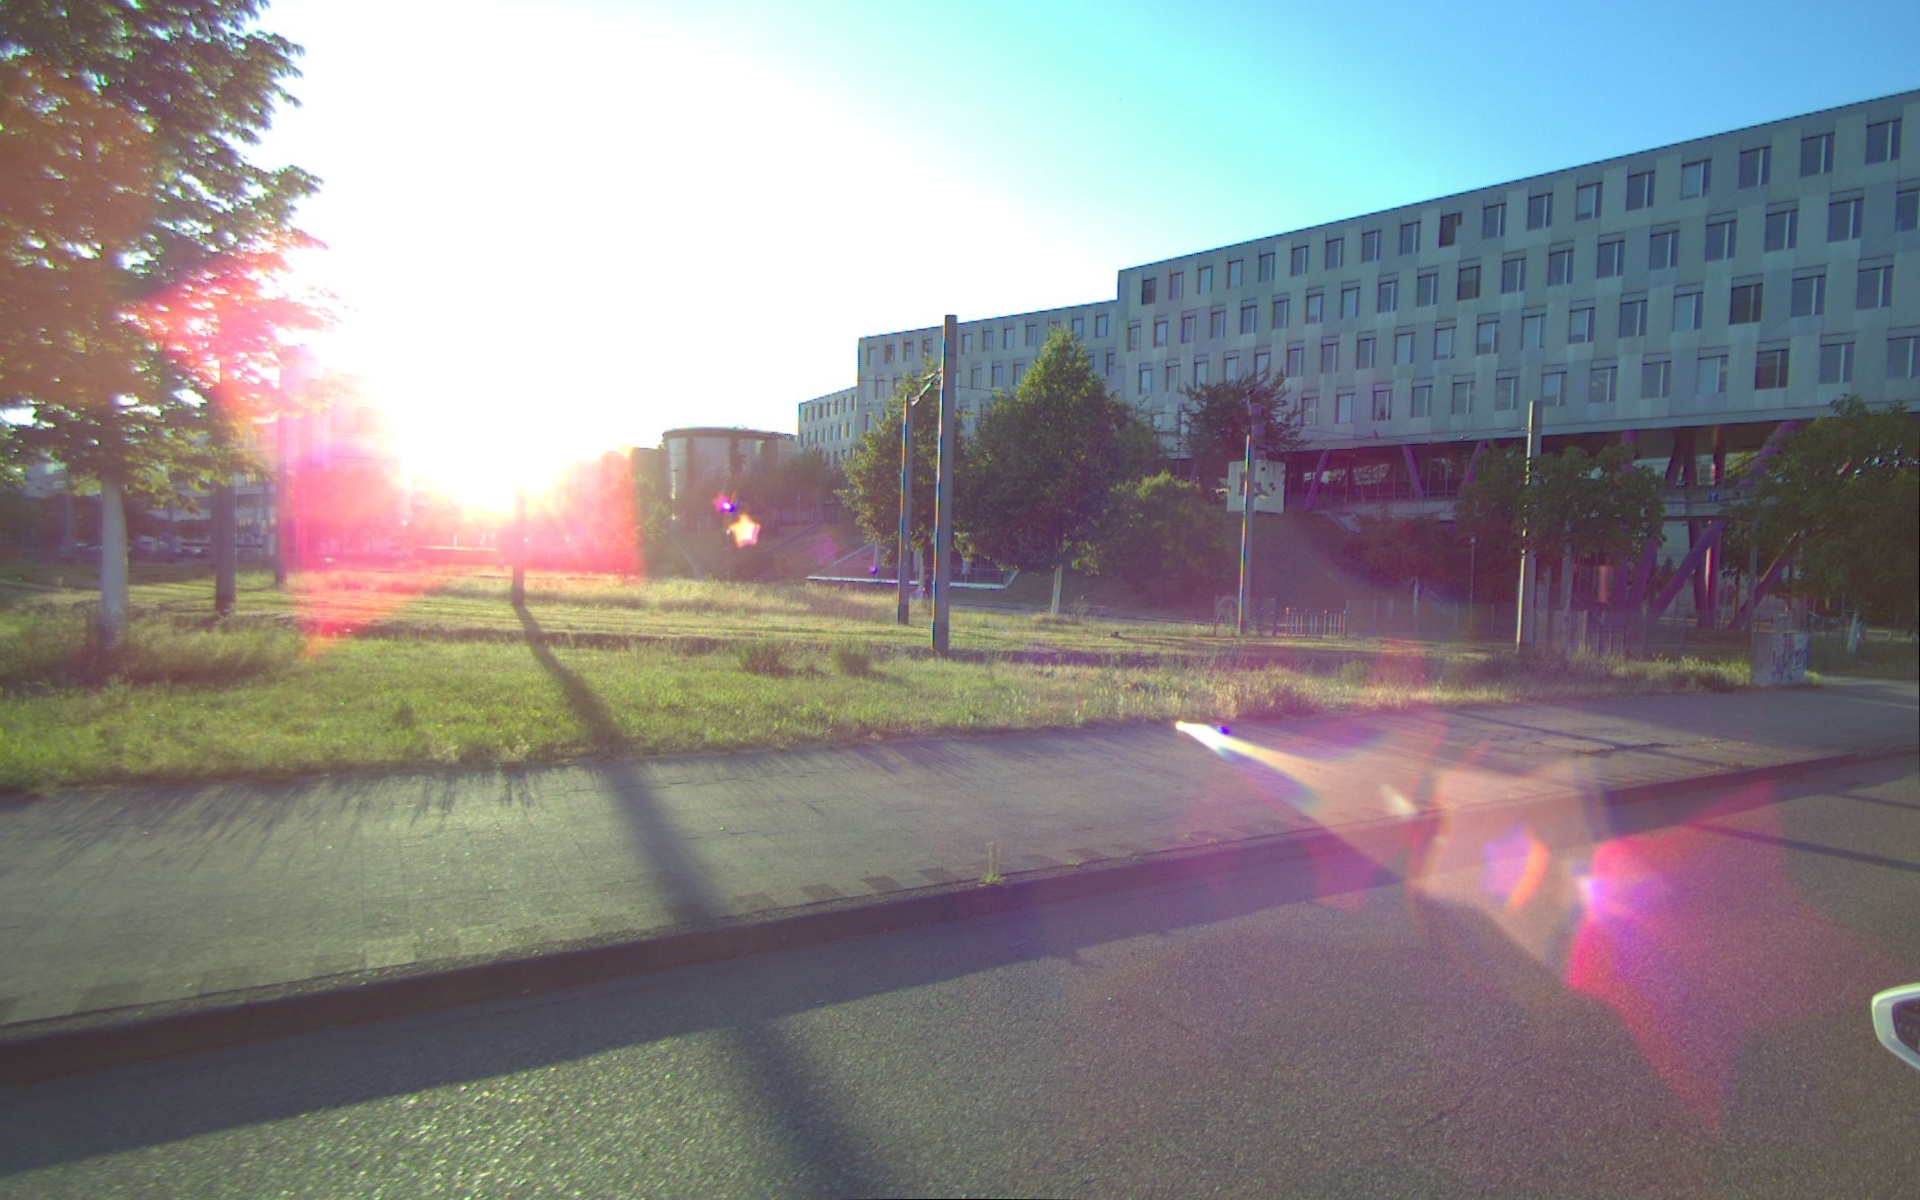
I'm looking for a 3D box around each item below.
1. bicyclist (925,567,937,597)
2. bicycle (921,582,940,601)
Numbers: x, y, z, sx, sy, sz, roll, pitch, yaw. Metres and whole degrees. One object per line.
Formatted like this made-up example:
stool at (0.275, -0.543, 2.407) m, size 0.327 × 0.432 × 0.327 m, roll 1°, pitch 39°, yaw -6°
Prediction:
bicyclist at (-1.503, -0.910, 51.444) m, size 0.419 × 1.515 × 0.509 m, roll 0°, pitch 3°, yaw -31°
bicycle at (-1.517, -0.434, 51.473) m, size 0.426 × 0.912 × 1.225 m, roll 0°, pitch 2°, yaw -32°
